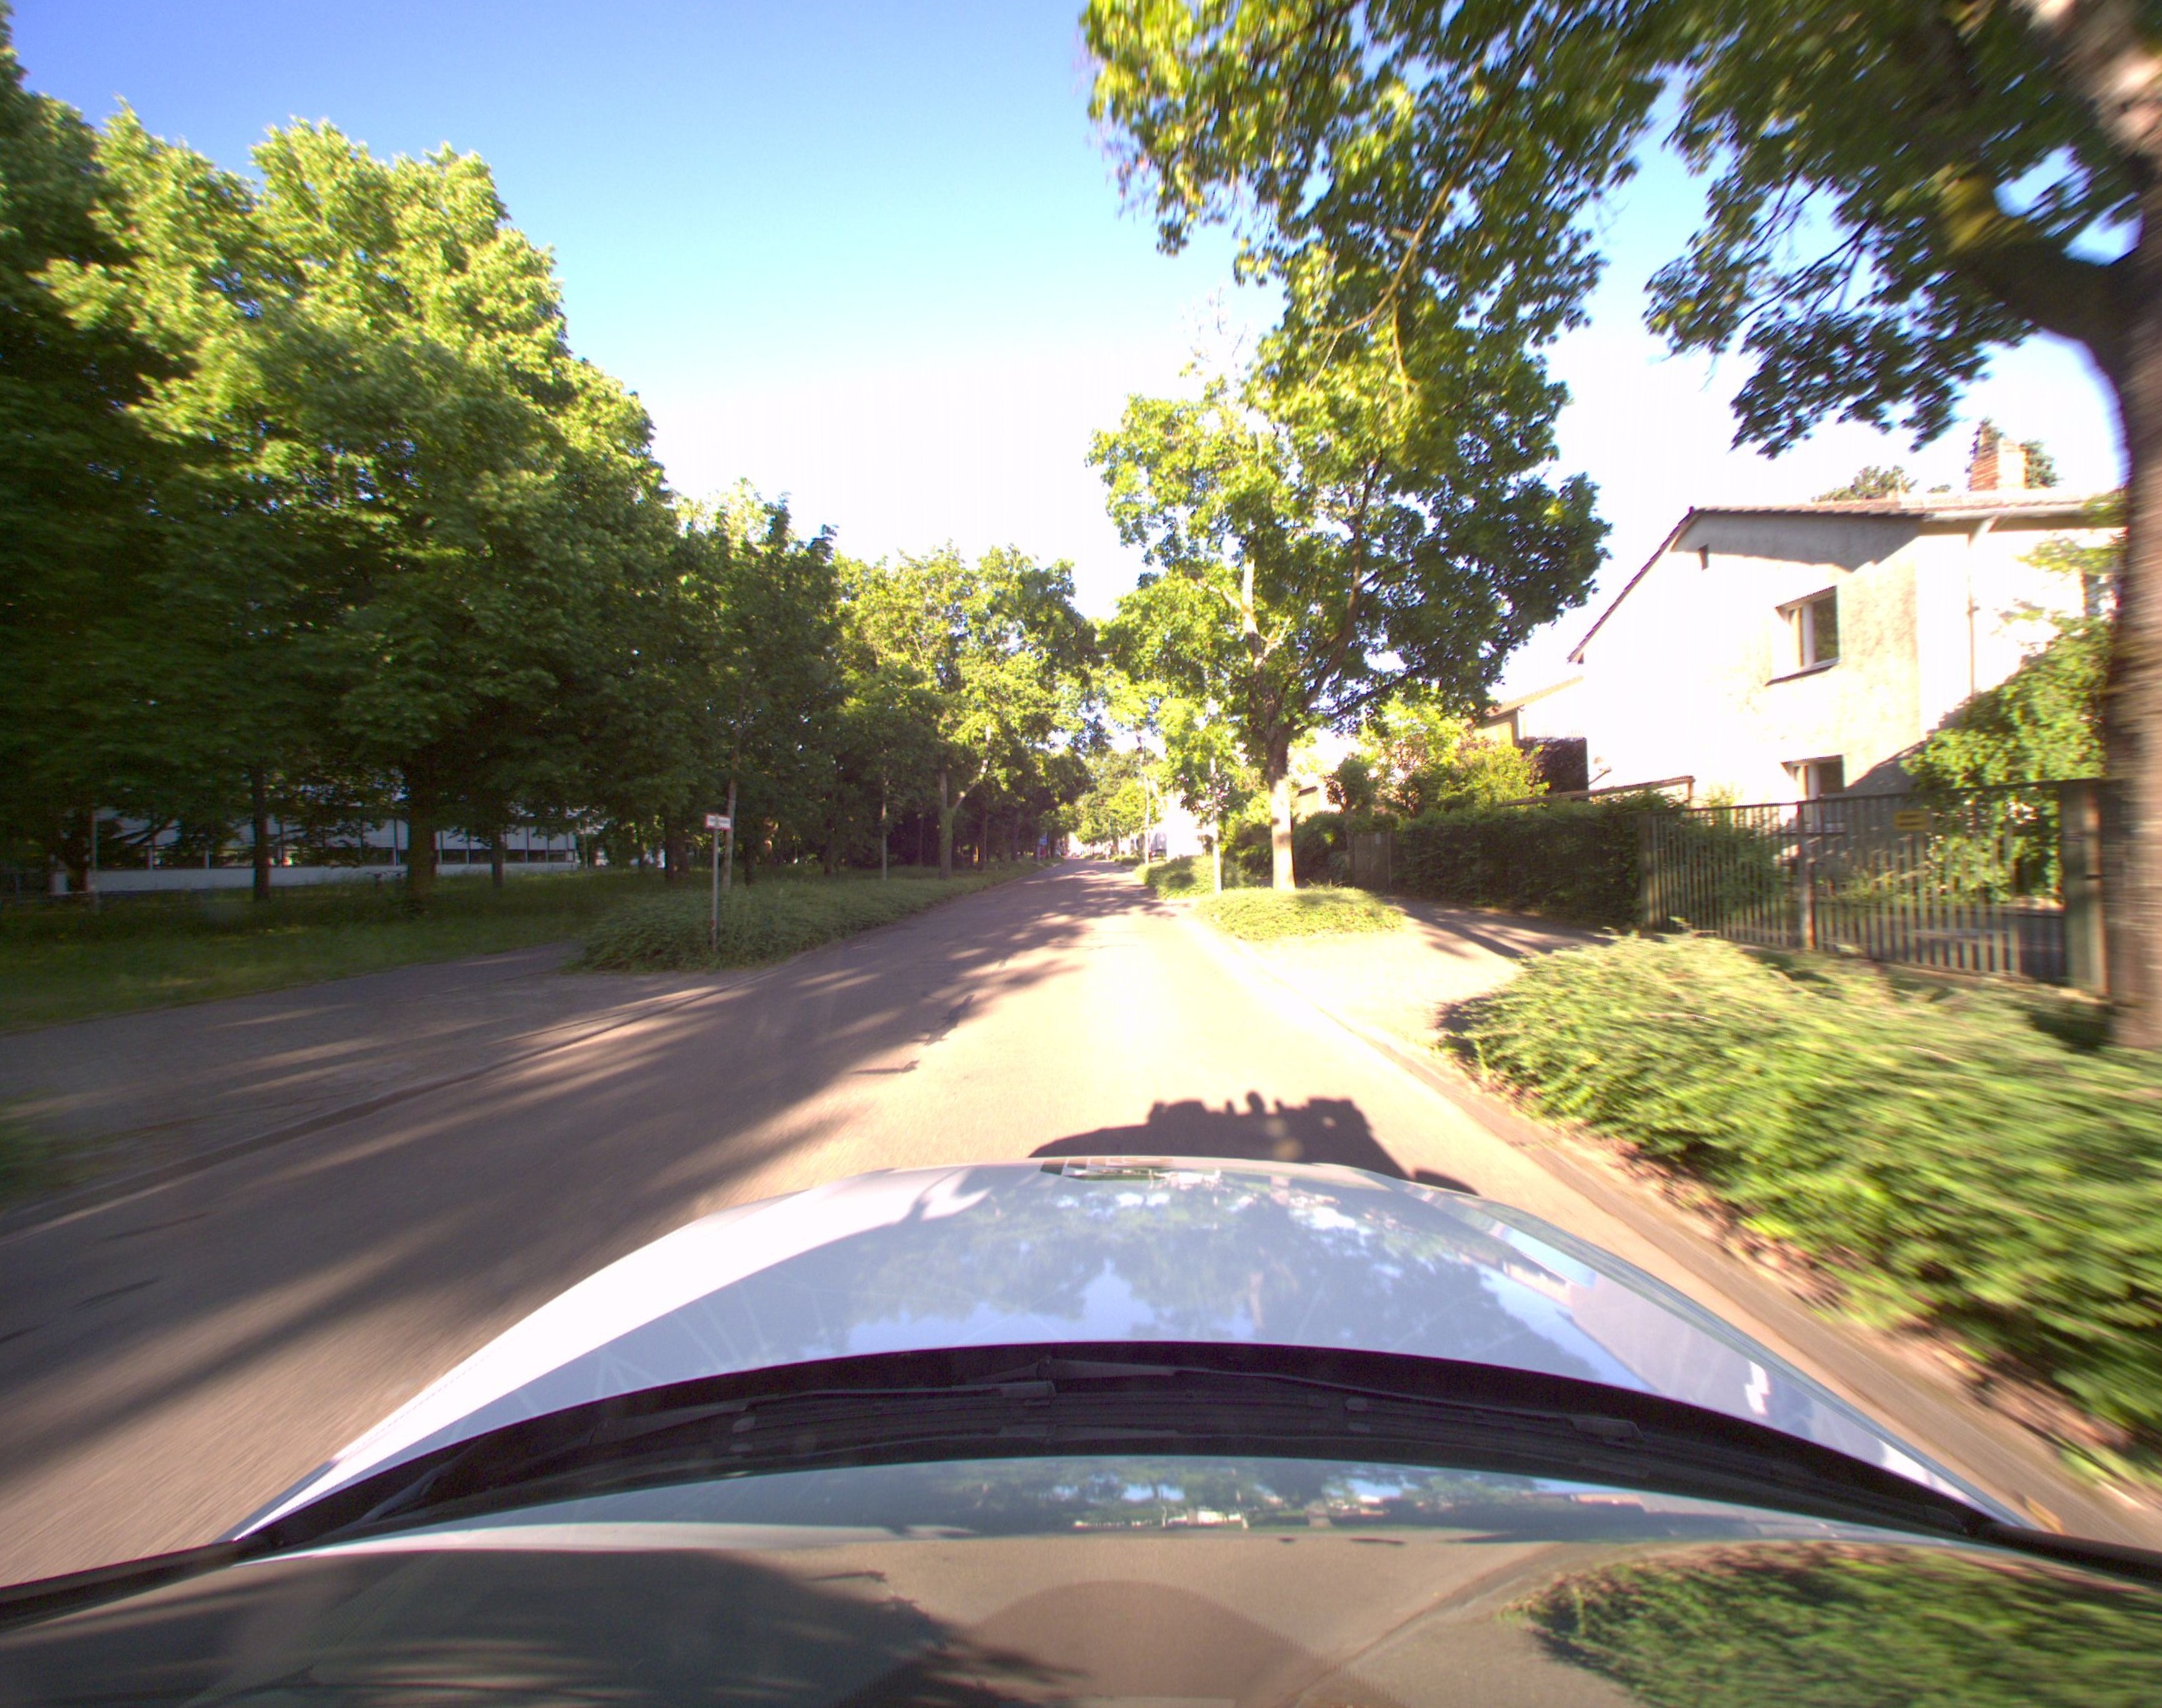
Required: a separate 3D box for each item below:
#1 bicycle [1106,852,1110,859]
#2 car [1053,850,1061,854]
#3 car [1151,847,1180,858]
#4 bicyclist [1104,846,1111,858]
[{"bbox_3d":[3.721,0.223,112.018,0.437,0.978,1.662,-1,1,1],"label":"bicycle"},{"bbox_3d":[-7.231,-0.587,242.310,1.993,1.354,3.530,0,0,-8],"label":"car"},{"bbox_3d":[12.762,-0.197,123.003,4.327,1.353,2.148,2,4,7],"label":"car"},{"bbox_3d":[3.657,-0.329,111.964,0.864,1.641,1.115,0,1,1],"label":"bicyclist"}]
